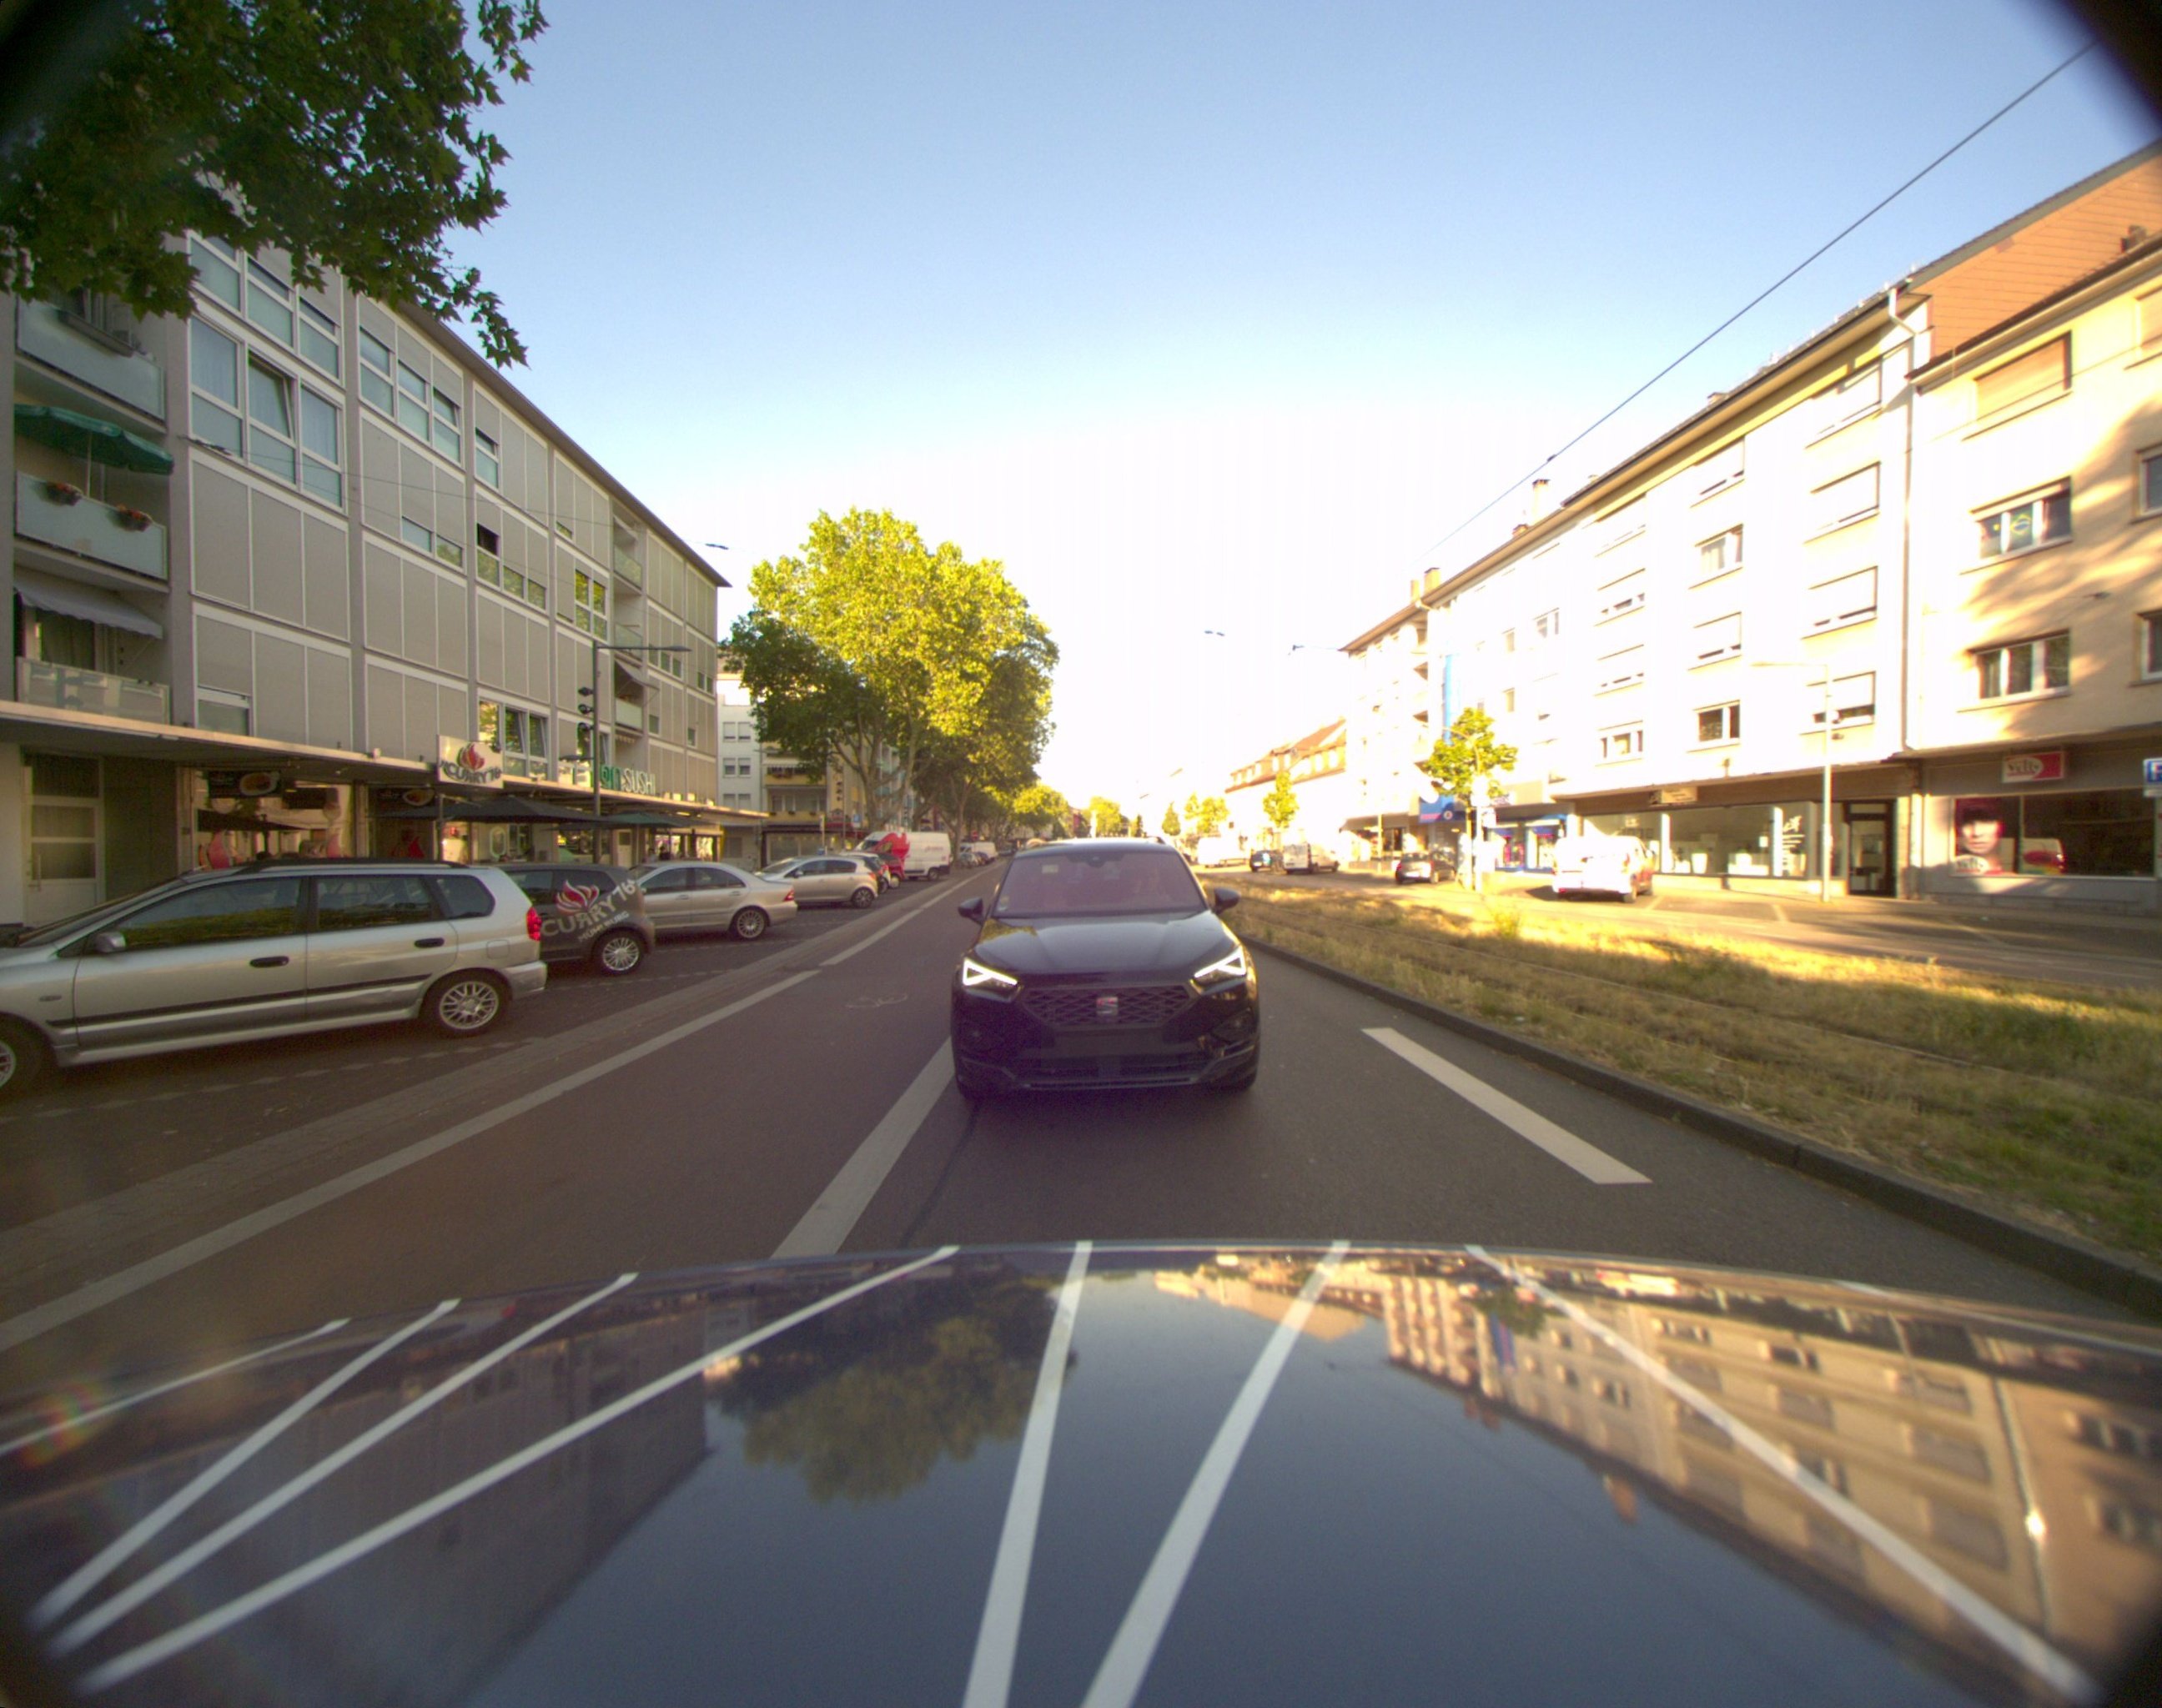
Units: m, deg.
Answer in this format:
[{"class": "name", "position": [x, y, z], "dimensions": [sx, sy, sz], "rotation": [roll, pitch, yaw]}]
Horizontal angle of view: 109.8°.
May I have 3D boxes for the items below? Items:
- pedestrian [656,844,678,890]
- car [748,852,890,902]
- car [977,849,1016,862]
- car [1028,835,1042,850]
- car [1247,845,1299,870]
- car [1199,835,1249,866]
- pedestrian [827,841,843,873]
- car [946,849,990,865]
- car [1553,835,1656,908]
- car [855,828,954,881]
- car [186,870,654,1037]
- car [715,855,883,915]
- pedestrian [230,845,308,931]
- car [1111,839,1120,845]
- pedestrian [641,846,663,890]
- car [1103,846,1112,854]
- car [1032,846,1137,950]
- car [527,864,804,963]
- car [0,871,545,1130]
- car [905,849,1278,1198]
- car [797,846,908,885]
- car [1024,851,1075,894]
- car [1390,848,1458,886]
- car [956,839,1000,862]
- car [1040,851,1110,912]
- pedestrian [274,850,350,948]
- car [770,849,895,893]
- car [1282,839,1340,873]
[{"class": "pedestrian", "position": [-15.562, 0.487, 28.573], "dimensions": [0.545, 1.710, 0.457], "rotation": [0, 1, -4]}, {"class": "car", "position": [-8.315, 0.719, 24.183], "dimensions": [3.949, 1.420, 1.672], "rotation": [1, 1, -34]}, {"class": "car", "position": [-9.129, 0.156, 82.553], "dimensions": [1.778, 1.326, 3.943], "rotation": [1, 1, 44]}, {"class": "car", "position": [-9.729, -2.396, 162.085], "dimensions": [2.660, 2.989, 7.131], "rotation": [-2, 1, -2]}, {"class": "car", "position": [13.798, 0.232, 54.526], "dimensions": [3.922, 1.704, 1.853], "rotation": [-2, 1, -45]}, {"class": "car", "position": [12.959, -0.373, 68.538], "dimensions": [1.922, 2.599, 6.601], "rotation": [-1, 1, 34]}, {"class": "pedestrian", "position": [-15.445, 0.182, 47.746], "dimensions": [0.748, 2.002, 0.764], "rotation": [0, 1, -4]}, {"class": "car", "position": [-10.809, 0.271, 72.886], "dimensions": [1.778, 1.396, 3.943], "rotation": [1, 1, 44]}, {"class": "car", "position": [15.610, 0.442, 22.570], "dimensions": [1.853, 1.888, 4.007], "rotation": [-1, 2, 44]}, {"class": "car", "position": [-8.724, 0.046, 37.816], "dimensions": [4.606, 2.479, 1.672], "rotation": [0, 0, -44]}, {"class": "car", "position": [-7.546, 0.959, 9.038], "dimensions": [1.672, 1.420, 3.950], "rotation": [2, 1, 38]}, {"class": "car", "position": [-7.526, 0.792, 20.525], "dimensions": [3.950, 1.420, 1.555], "rotation": [1, 1, -45]}, {"class": "pedestrian", "position": [-15.124, 0.613, 14.165], "dimensions": [0.583, 1.573, 0.771], "rotation": [0, 1, 2]}, {"class": "car", "position": [9.527, -3.340, 210.968], "dimensions": [1.999, 1.783, 3.998], "rotation": [0, 1, -4]}, {"class": "pedestrian", "position": [-16.110, 0.522, 28.530], "dimensions": [0.537, 1.630, 0.478], "rotation": [0, 1, -4]}, {"class": "car", "position": [6.137, -0.958, 176.853], "dimensions": [1.846, 1.571, 4.449], "rotation": [-2, 1, 0]}, {"class": "car", "position": [0.033, 0.701, 14.392], "dimensions": [1.646, 1.646, 3.999], "rotation": [-2, 1, -1]}, {"class": "car", "position": [-7.127, 0.917, 13.341], "dimensions": [1.592, 1.393, 3.950], "rotation": [2, 1, 41]}, {"class": "car", "position": [-6.885, 0.958, 6.022], "dimensions": [1.672, 1.533, 3.993], "rotation": [2, 1, 38]}, {"class": "car", "position": [0.079, 0.836, 5.767], "dimensions": [1.785, 1.639, 3.999], "rotation": [-2, 1, 1]}, {"class": "car", "position": [-9.180, 0.488, 30.561], "dimensions": [3.948, 1.421, 1.672], "rotation": [1, 2, -31]}, {"class": "car", "position": [-1.129, 0.652, 28.988], "dimensions": [1.729, 1.443, 4.227], "rotation": [-2, 1, -1]}, {"class": "car", "position": [15.367, 0.554, 33.959], "dimensions": [1.731, 1.489, 4.008], "rotation": [-1, 1, 40]}, {"class": "car", "position": [-11.538, -0.425, 85.081], "dimensions": [1.973, 2.454, 4.605], "rotation": [1, 1, 44]}, {"class": "car", "position": [-0.167, 0.698, 21.393], "dimensions": [1.729, 1.467, 3.999], "rotation": [-2, 1, -1]}, {"class": "pedestrian", "position": [-12.583, 0.713, 12.450], "dimensions": [0.561, 1.567, 0.642], "rotation": [0, 1, -5]}, {"class": "car", "position": [-8.903, 0.631, 27.310], "dimensions": [3.948, 1.421, 1.672], "rotation": [2, 2, -32]}, {"class": "car", "position": [14.522, 0.101, 47.839], "dimensions": [1.853, 1.927, 4.513], "rotation": [-1, 1, 40]}]
